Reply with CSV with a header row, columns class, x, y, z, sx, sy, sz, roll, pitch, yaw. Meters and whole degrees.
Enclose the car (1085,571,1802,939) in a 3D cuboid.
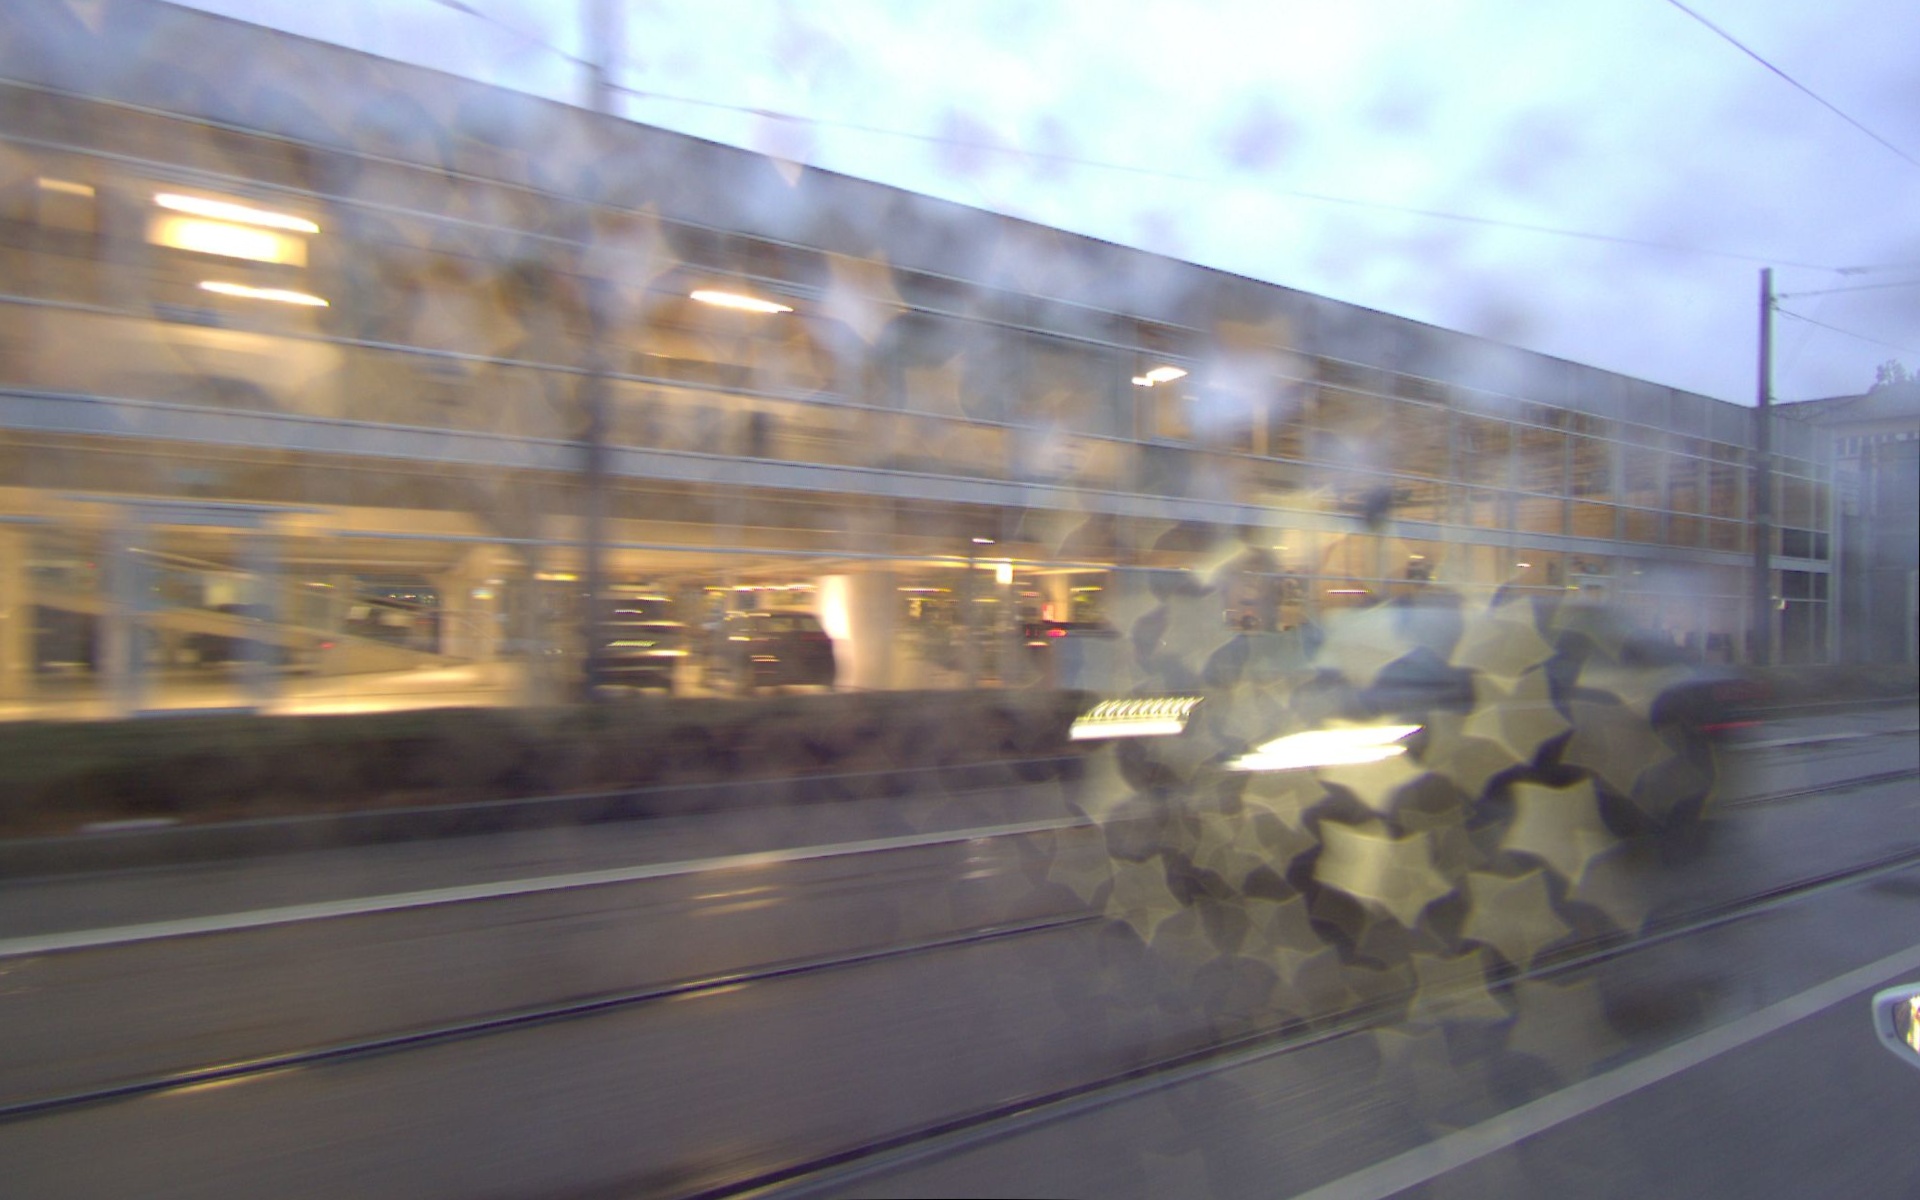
class,x,y,z,sx,sy,sz,roll,pitch,yaw
car,3.099,0.729,6.246,4.387,1.599,1.833,1,-1,-29
